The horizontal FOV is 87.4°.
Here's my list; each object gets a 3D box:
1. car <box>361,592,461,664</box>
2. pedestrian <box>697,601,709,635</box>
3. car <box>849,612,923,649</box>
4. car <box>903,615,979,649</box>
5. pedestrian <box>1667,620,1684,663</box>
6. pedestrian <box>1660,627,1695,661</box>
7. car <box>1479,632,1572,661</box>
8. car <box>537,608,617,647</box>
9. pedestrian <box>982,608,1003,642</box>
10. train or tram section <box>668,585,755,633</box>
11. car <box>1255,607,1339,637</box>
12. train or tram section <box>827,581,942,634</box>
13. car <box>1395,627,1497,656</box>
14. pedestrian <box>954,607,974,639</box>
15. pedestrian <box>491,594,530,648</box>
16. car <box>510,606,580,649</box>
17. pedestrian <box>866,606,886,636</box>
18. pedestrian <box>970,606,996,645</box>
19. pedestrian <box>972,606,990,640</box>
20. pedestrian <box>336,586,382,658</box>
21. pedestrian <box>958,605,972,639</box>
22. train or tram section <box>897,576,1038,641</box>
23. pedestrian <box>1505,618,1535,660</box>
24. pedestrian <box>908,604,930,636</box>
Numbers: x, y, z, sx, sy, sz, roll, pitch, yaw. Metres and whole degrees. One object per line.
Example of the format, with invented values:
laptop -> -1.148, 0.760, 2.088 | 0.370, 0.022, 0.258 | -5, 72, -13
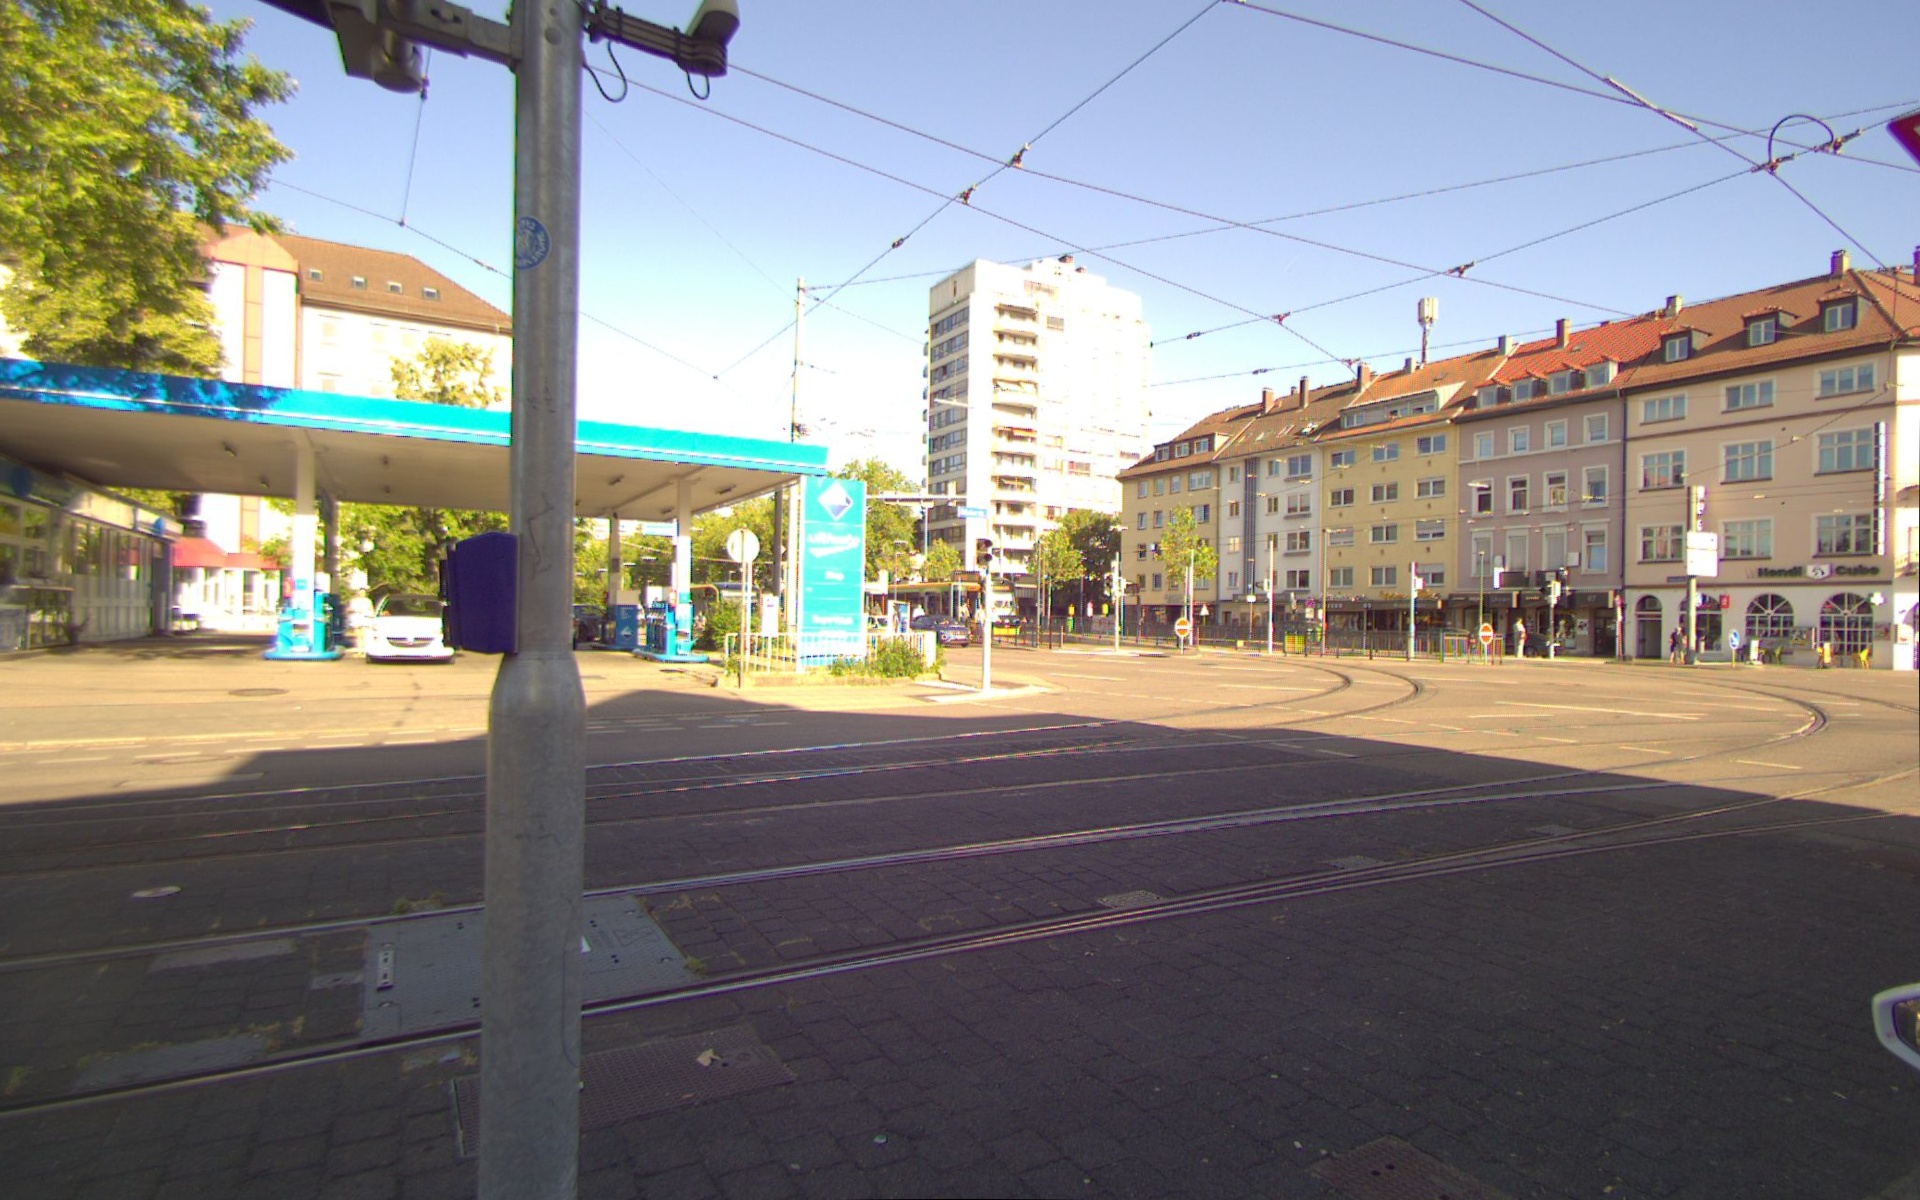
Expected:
car -> -12.278, 0.610, 22.430 | 1.773, 1.461, 3.968 | 2, -1, -30
pedestrian -> -13.928, 0.983, 54.421 | 0.539, 1.809, 0.492 | 1, -1, -27
car -> -3.511, 1.401, 46.802 | 1.976, 1.615, 3.970 | 1, -1, -29
car -> -0.963, 1.499, 48.344 | 1.937, 1.475, 4.077 | 1, 0, -30
pedestrian -> 34.206, 1.986, 48.015 | 0.498, 2.040, 0.507 | 1, -1, -27
pedestrian -> 35.432, 2.173, 49.585 | 1.029, 1.612, 1.061 | 1, -1, -28
car -> 30.771, 2.500, 54.709 | 1.980, 1.483, 3.962 | 1, -1, -34
car -> -17.208, 1.220, 45.379 | 1.960, 1.685, 4.001 | 1, -1, 2
pedestrian -> 1.610, 1.240, 49.682 | 0.791, 1.646, 0.706 | 1, -1, -33
train or tram section -> -15.035, 0.462, 60.036 | 2.233, 2.627, 10.398 | 2, 0, -30
car -> 19.477, 1.249, 58.246 | 1.976, 1.694, 4.489 | 1, -1, -30
train or tram section -> -5.254, 0.532, 67.578 | 3.252, 3.335, 10.157 | 1, -1, -33
car -> 25.357, 2.157, 52.518 | 1.977, 1.358, 4.487 | 1, -1, -31
pedestrian -> 0.193, 1.212, 52.981 | 0.773, 1.721, 0.692 | 1, -1, -33
pedestrian -> -15.610, 0.719, 34.881 | 0.896, 1.826, 0.893 | 0, -1, 34
car -> -13.507, 0.870, 32.574 | 1.752, 1.332, 3.520 | 1, -1, -28
pedestrian -> -5.175, 1.305, 61.914 | 0.902, 1.826, 0.887 | 1, -1, -33
pedestrian -> 1.130, 1.227, 48.471 | 0.902, 1.826, 0.887 | 1, -1, -33
pedestrian -> 1.074, 1.171, 51.056 | 0.549, 1.721, 0.740 | 1, -1, -33
pedestrian -> -13.907, 0.508, 23.258 | 0.801, 1.652, 0.643 | 1, -1, -24
pedestrian -> 0.278, 1.142, 52.102 | 0.491, 1.721, 0.553 | 1, -1, -33
train or tram section -> 0.226, 0.526, 58.960 | 3.252, 3.459, 10.157 | 1, -1, -33
pedestrian -> 24.491, 1.698, 43.950 | 0.801, 1.842, 0.871 | 1, -1, -29
pedestrian -> -2.346, 1.124, 56.905 | 0.902, 1.826, 0.887 | 1, -1, -33
